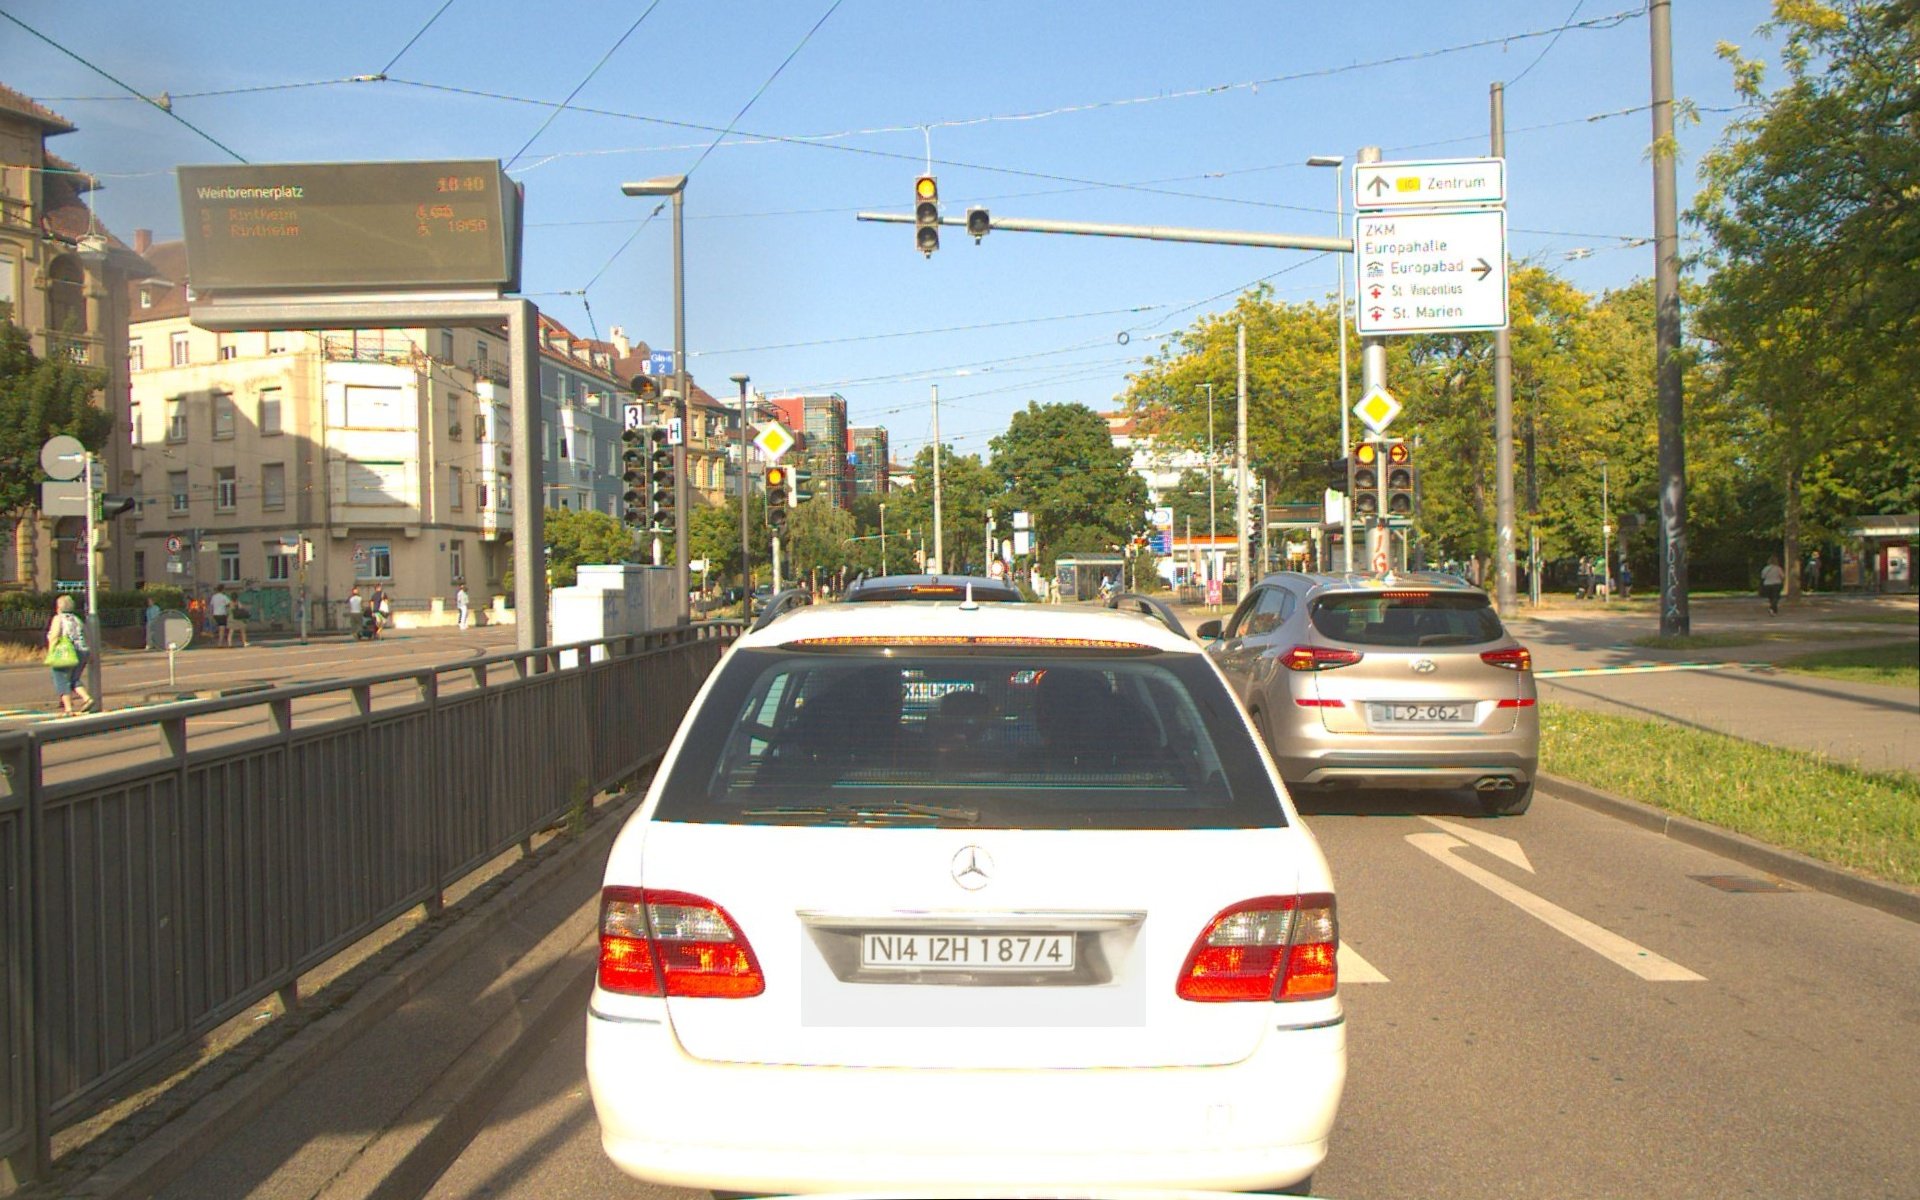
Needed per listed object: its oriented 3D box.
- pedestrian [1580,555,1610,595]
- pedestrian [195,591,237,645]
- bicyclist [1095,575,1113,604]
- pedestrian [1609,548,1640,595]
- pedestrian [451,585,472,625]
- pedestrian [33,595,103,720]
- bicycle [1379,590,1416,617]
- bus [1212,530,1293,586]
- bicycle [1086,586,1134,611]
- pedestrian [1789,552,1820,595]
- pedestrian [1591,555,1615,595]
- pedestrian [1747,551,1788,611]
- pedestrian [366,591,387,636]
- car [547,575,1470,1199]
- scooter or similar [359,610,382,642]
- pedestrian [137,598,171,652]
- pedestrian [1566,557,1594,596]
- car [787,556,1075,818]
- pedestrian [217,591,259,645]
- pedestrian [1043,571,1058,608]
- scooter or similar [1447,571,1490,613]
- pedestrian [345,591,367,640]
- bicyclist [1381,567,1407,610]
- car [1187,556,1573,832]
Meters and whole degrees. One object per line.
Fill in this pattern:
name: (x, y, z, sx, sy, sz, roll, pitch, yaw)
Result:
pedestrian: (24.863, -0.981, 64.762, 0.799, 1.513, 0.699, -1, 0, -12)
pedestrian: (-22.557, 0.539, 50.137, 0.812, 1.579, 0.782, -1, 0, 21)
bicyclist: (7.526, -0.544, 86.364, 0.842, 1.507, 0.790, -1, 0, 8)
pedestrian: (25.881, -1.111, 64.422, 0.784, 1.816, 0.838, -1, 0, -5)
pedestrian: (-21.019, 0.210, 69.700, 0.606, 1.689, 0.586, -1, 0, 8)
pedestrian: (-11.874, 0.752, 22.034, 0.601, 1.627, 0.632, -1, 0, -7)
bicycle: (13.298, 0.103, 50.300, 0.485, 0.770, 2.168, -2, 0, -1)
bus: (21.234, -2.941, 119.419, 3.045, 3.669, 12.371, 1, 0, 23)
bicycle: (7.815, -0.055, 86.349, 2.430, 1.234, 0.807, -1, 0, 7)
pedestrian: (33.277, -1.056, 65.214, 0.818, 1.665, 0.803, -1, 0, 5)
pedestrian: (24.603, -0.962, 63.246, 0.797, 1.513, 0.700, -1, 0, 24)
pedestrian: (22.931, -0.541, 46.962, 0.748, 1.665, 0.797, -1, 0, -40)
pedestrian: (-19.977, 0.459, 56.652, 0.428, 1.527, 0.549, -1, 0, 14)
car: (0.062, 0.690, 4.976, 1.759, 1.496, 3.647, 0, 0, -1)
scooter or similar: (-20.485, 0.916, 57.474, 0.532, 1.098, 0.683, 1, 0, -1)
pedestrian: (-23.756, 0.728, 48.778, 0.616, 1.568, 0.711, -1, 0, -1)
pedestrian: (24.055, -0.916, 64.142, 0.809, 1.513, 0.690, -2, 0, -42)
car: (-0.205, 0.553, 12.578, 1.846, 1.680, 3.647, 1, 0, -1)
pedestrian: (-21.745, 0.547, 49.786, 0.812, 1.579, 0.782, -1, 0, 21)
pedestrian: (4.670, -0.520, 85.174, 0.628, 1.889, 0.552, -1, 0, 11)
scooter or similar: (14.034, -0.218, 45.675, 0.413, 1.136, 1.322, -1, 0, -20)
pedestrian: (-20.655, 0.523, 56.571, 0.497, 1.654, 0.608, -1, 0, 0)
bicyclist: (13.225, -0.354, 50.370, 0.523, 1.284, 0.869, -1, 0, -1)
car: (2.888, 0.575, 12.194, 1.846, 1.680, 3.647, -2, 0, -1)
